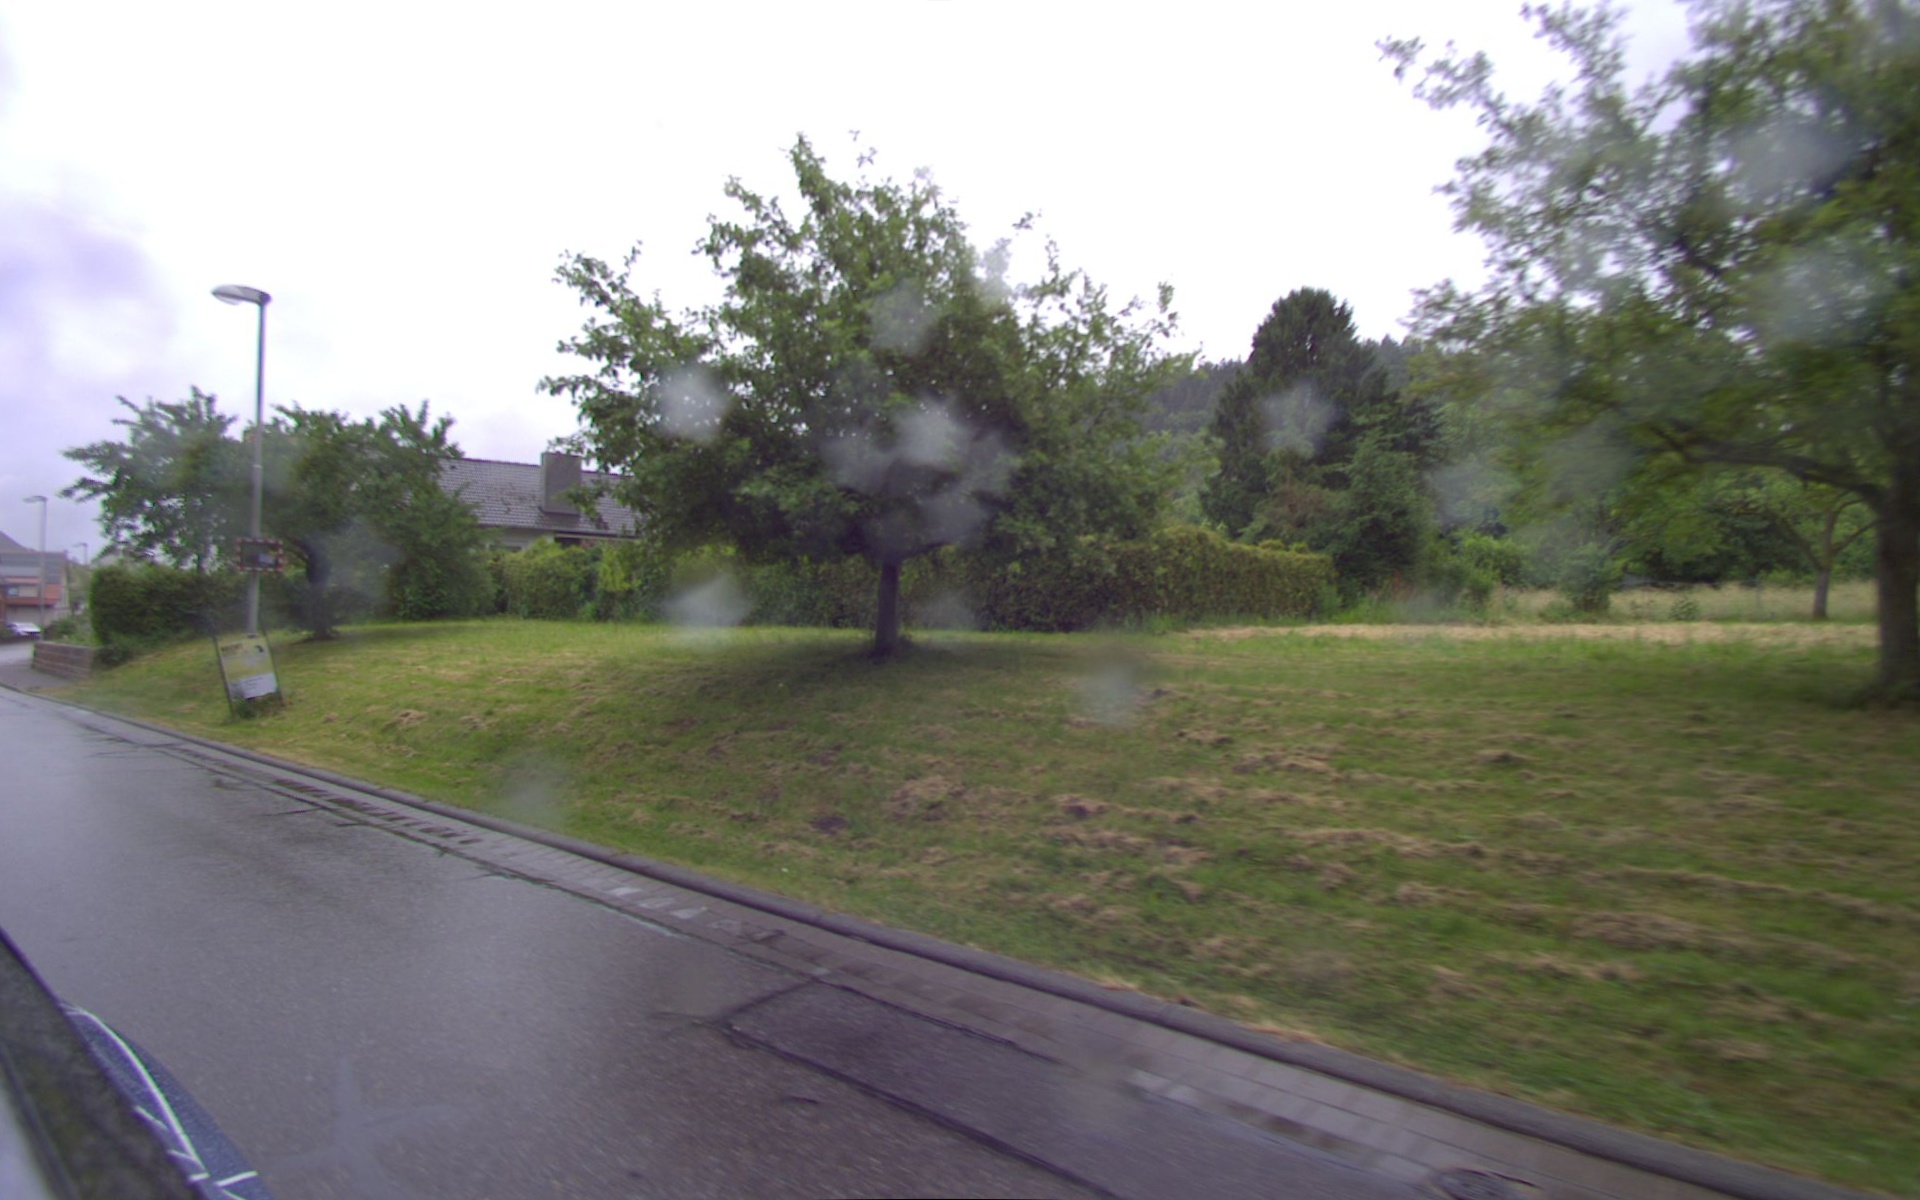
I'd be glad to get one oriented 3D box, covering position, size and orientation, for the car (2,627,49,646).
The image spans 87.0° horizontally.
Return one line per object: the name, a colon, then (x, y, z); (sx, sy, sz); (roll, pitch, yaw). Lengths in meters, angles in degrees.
car: (-81.602, 3.197, 88.368); (3.873, 1.587, 1.874); (-1, 0, 28)
